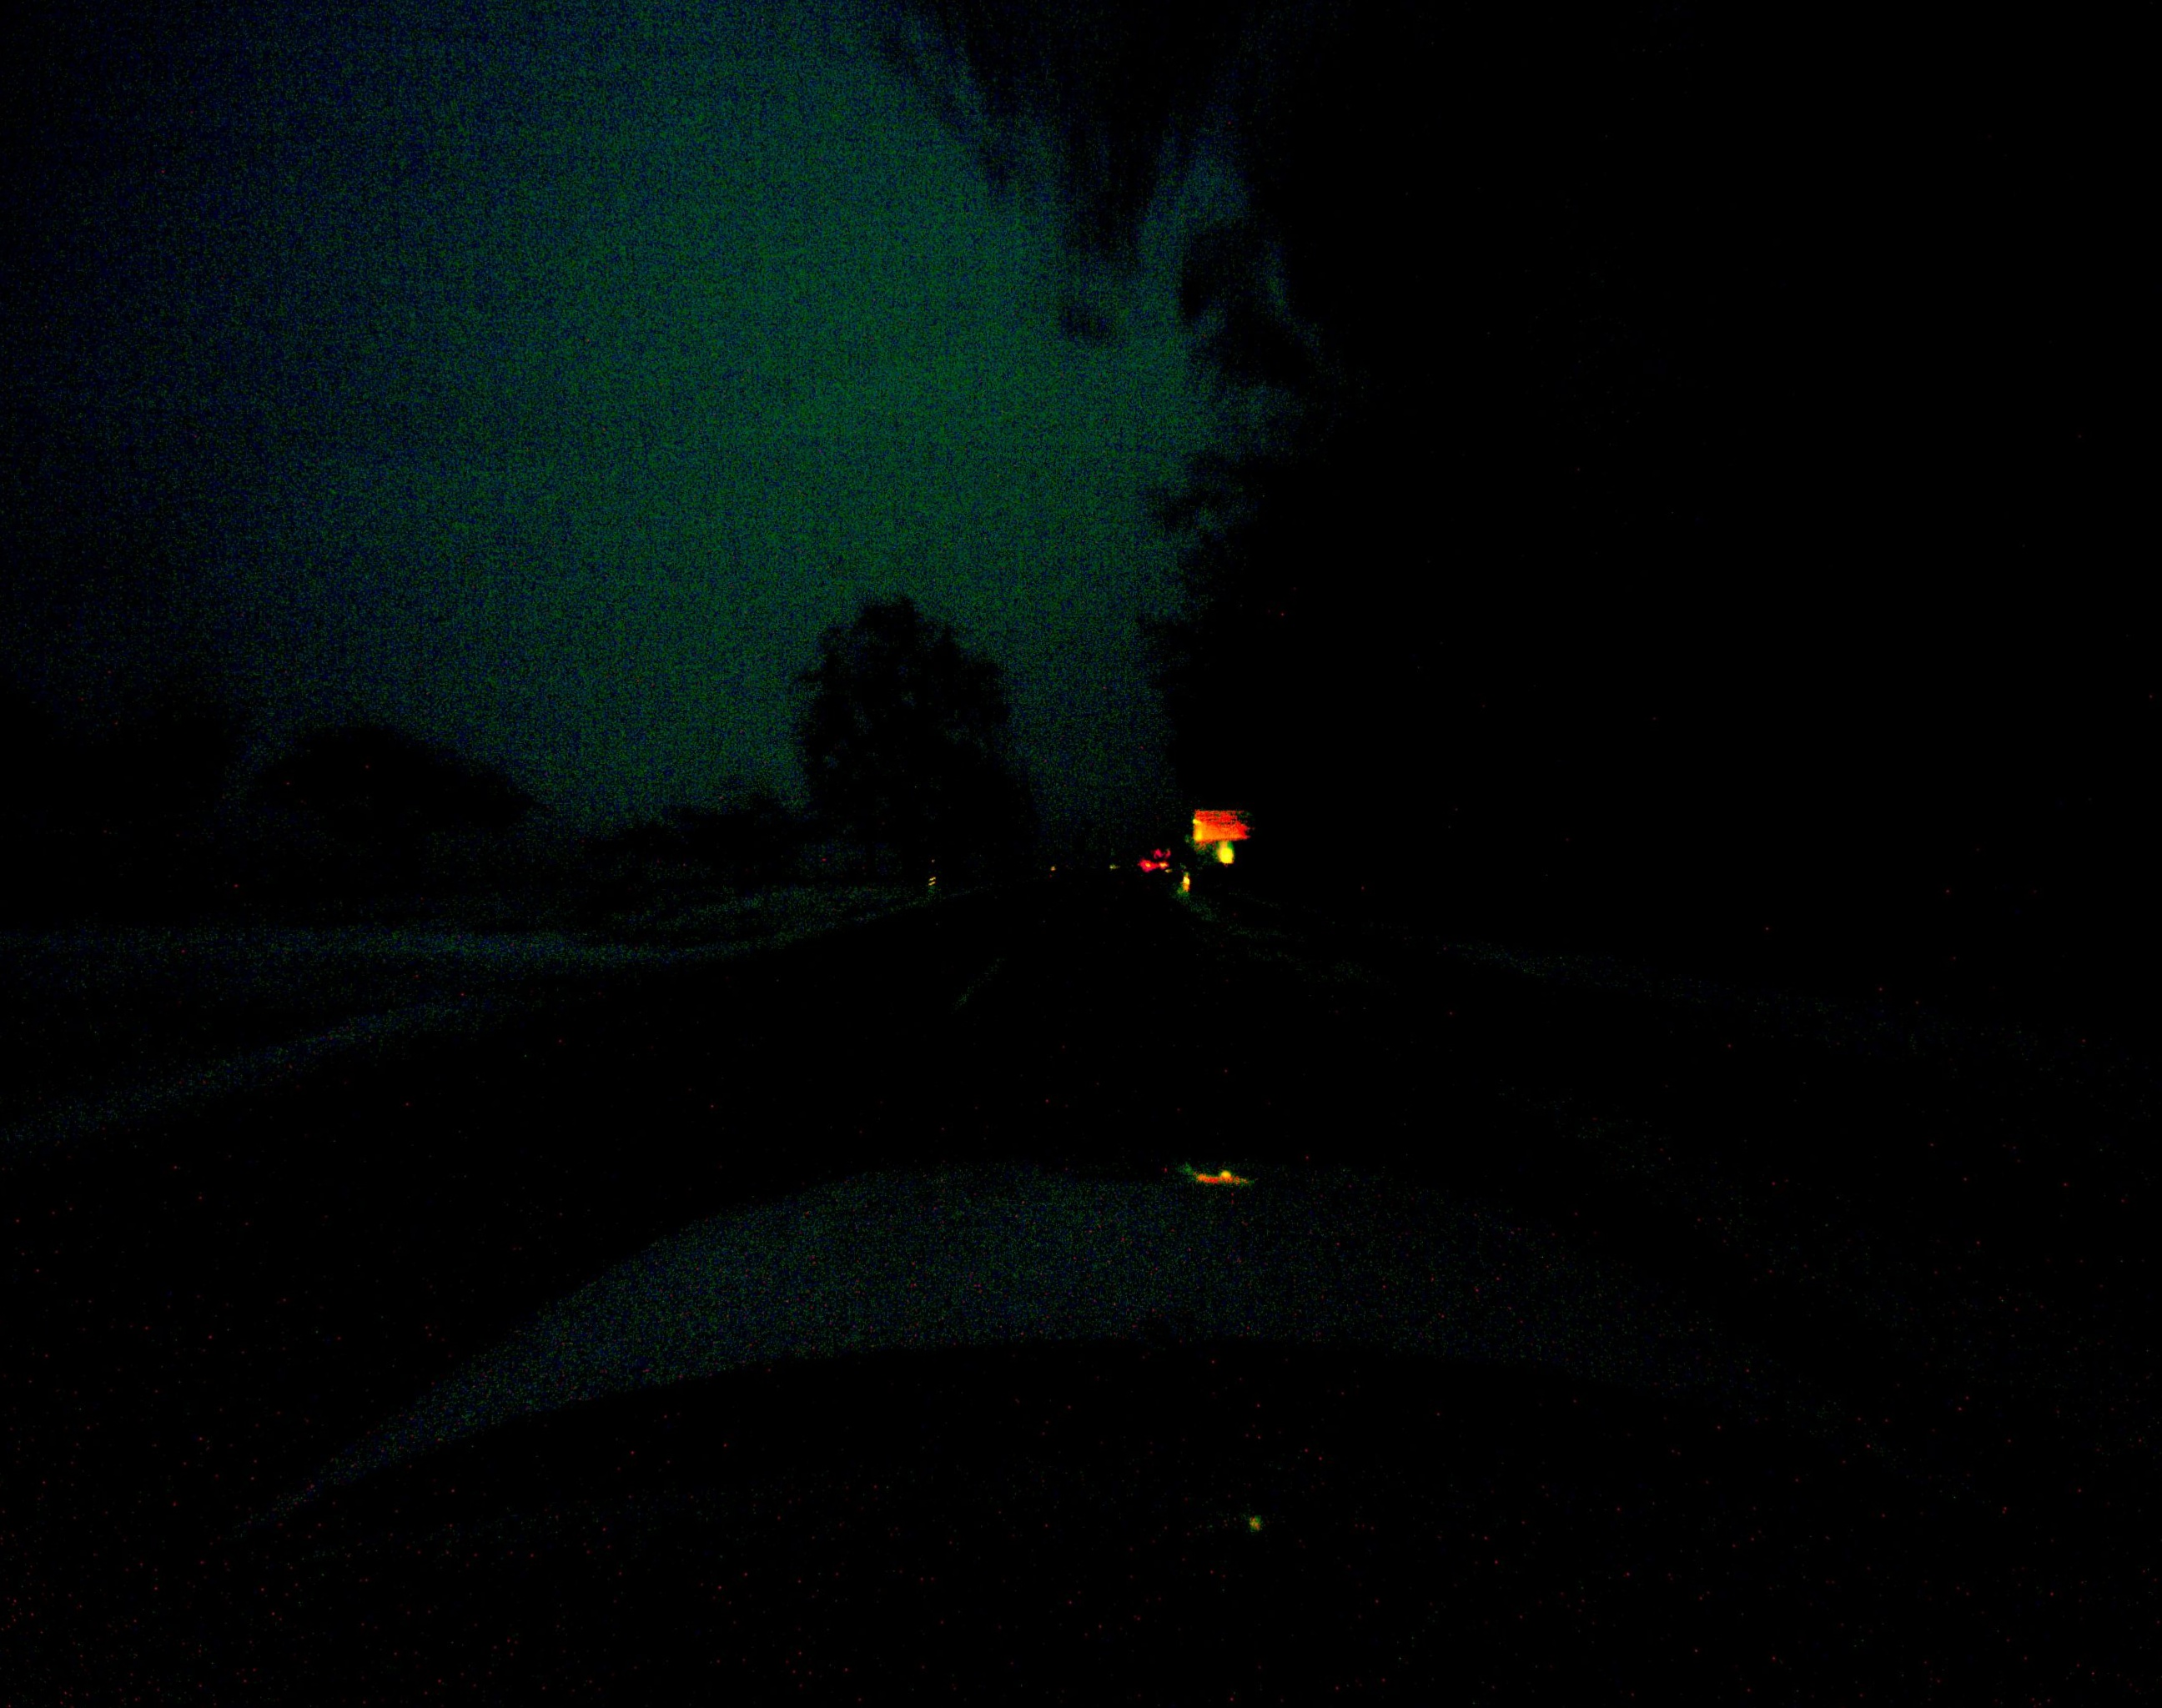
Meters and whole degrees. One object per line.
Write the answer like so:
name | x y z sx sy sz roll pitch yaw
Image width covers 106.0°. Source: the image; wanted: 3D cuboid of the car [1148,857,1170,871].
car | 7.795 0.946 81.043 1.910 1.276 4.011 -1 1 9
